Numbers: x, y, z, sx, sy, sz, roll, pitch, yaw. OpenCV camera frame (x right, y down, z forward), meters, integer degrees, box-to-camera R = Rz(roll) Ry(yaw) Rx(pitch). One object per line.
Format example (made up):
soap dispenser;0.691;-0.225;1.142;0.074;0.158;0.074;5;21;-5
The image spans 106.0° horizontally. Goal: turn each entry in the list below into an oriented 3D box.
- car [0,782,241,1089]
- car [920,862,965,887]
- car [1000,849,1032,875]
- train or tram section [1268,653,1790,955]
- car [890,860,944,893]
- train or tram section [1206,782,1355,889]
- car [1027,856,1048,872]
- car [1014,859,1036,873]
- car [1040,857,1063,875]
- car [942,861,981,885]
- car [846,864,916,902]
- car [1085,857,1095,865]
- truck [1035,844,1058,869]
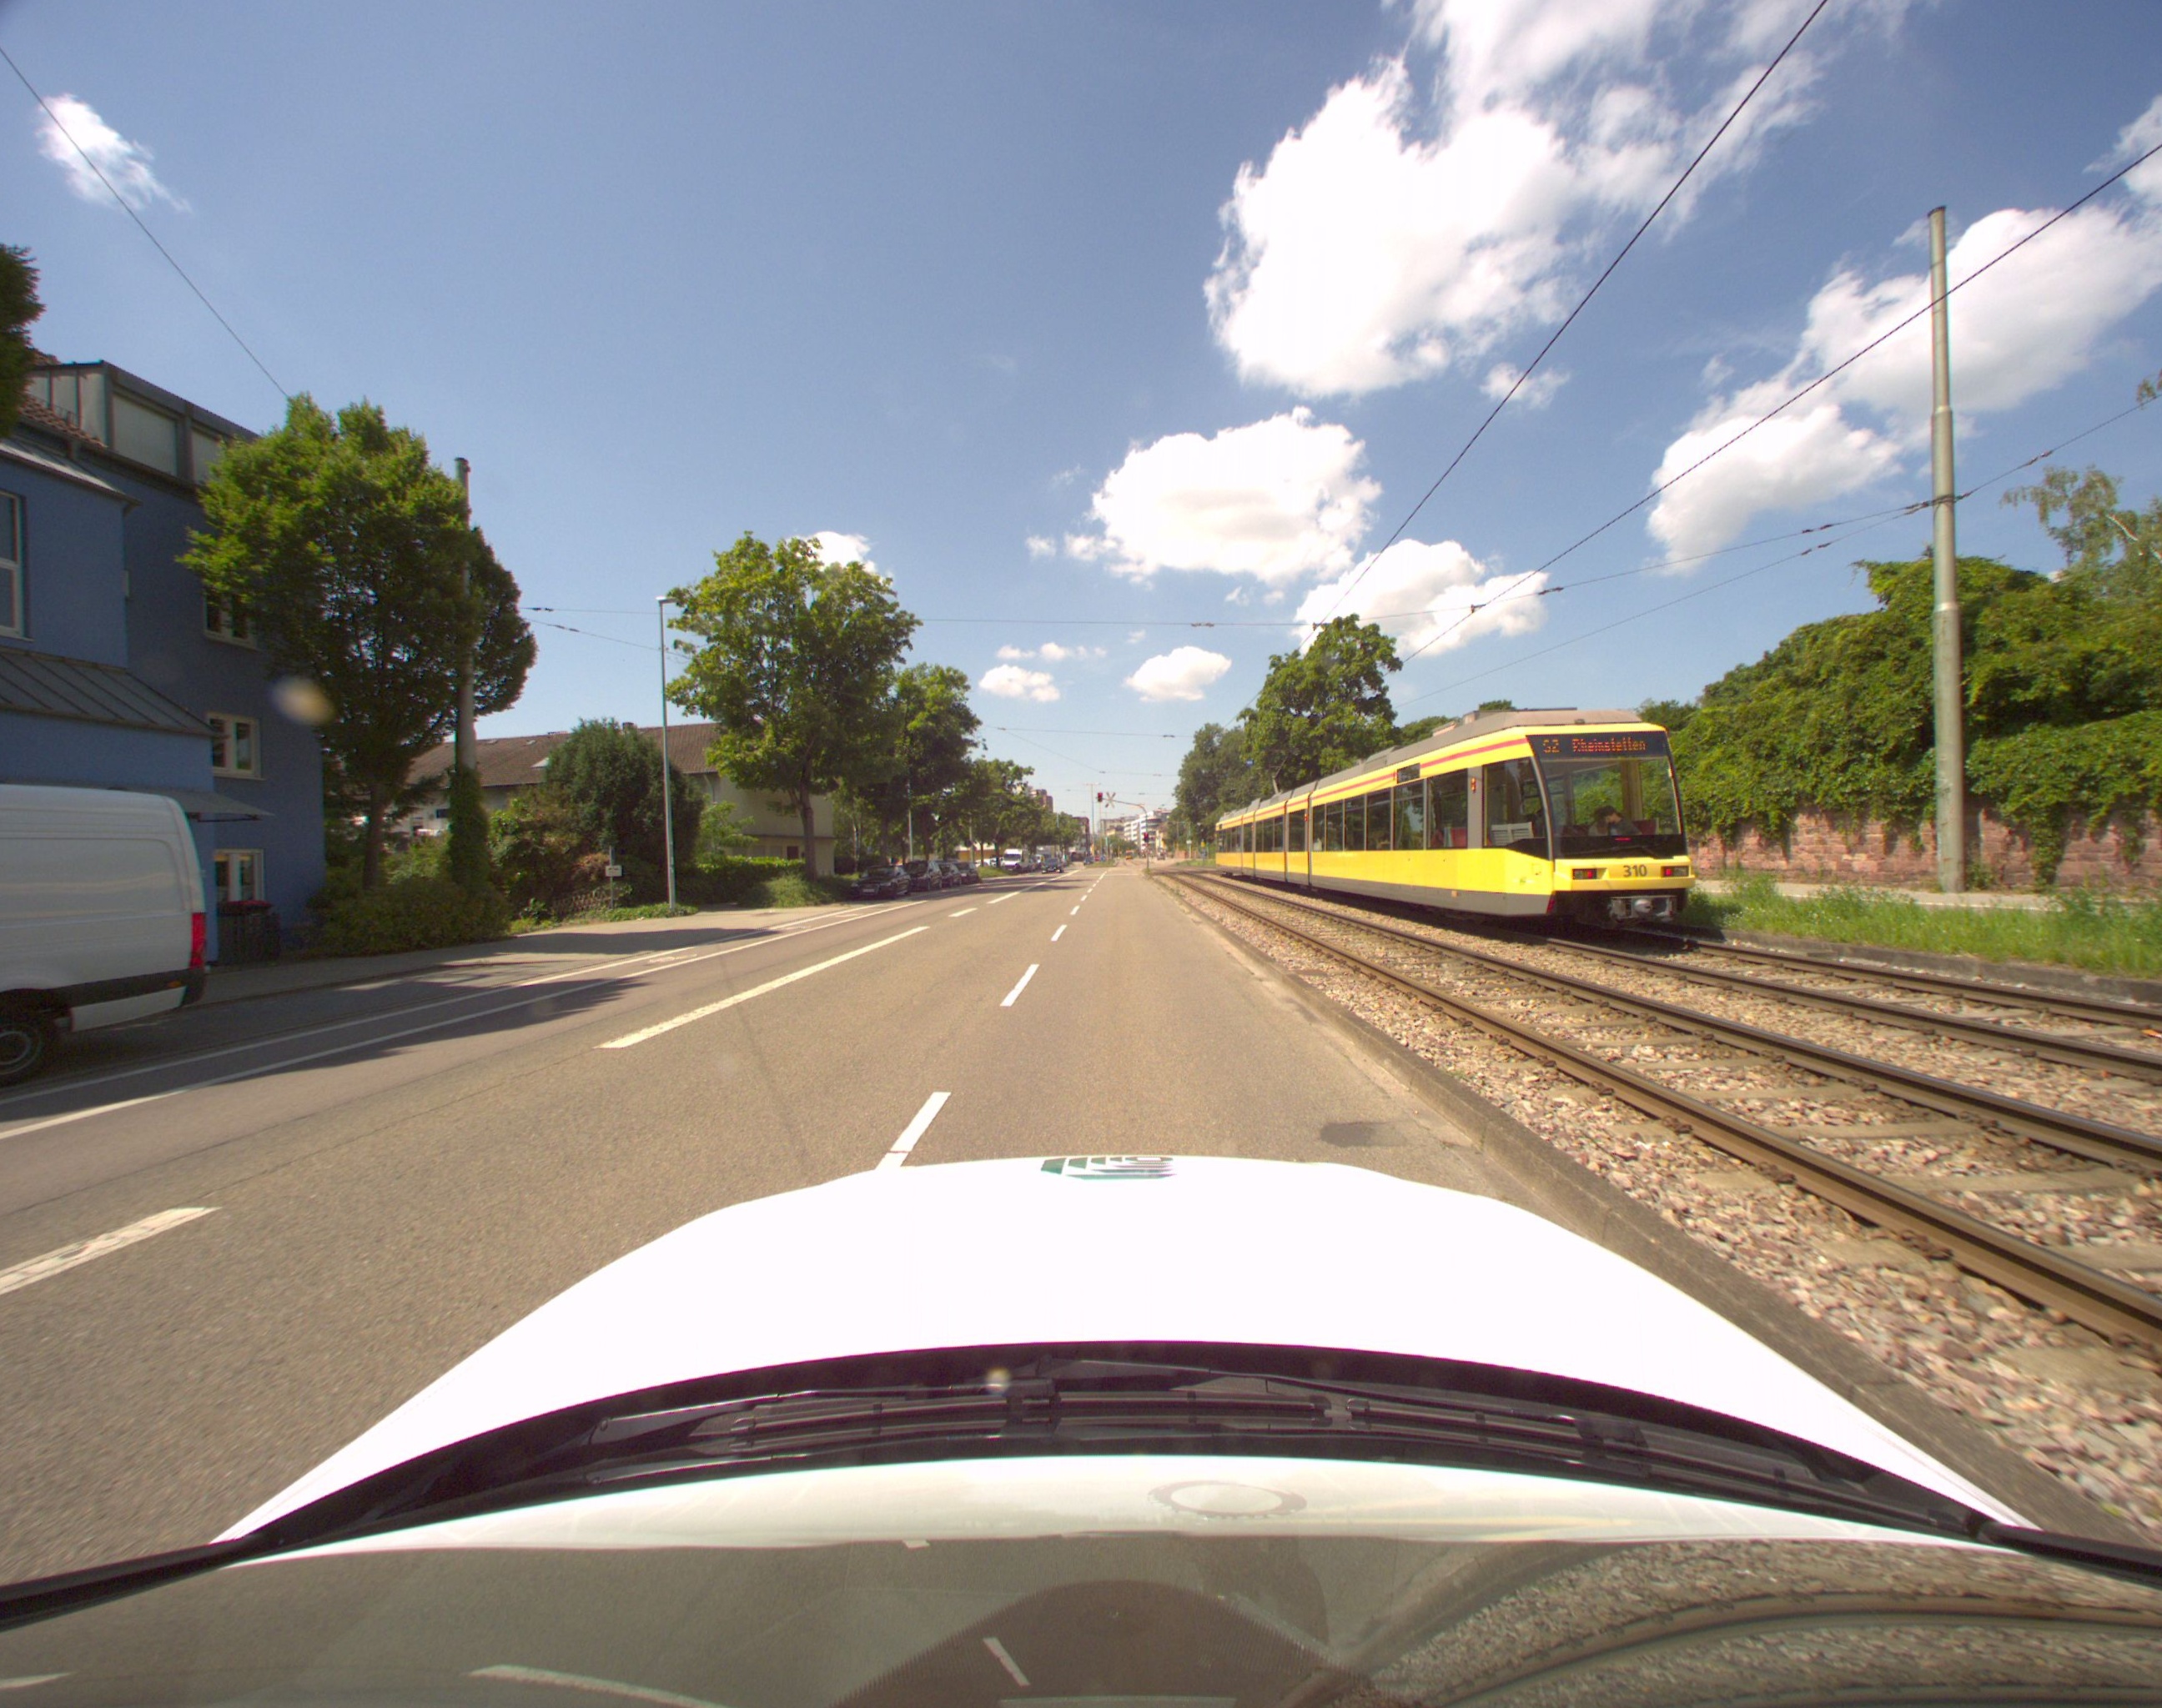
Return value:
car;-10.572;0.677;5.407;2.314;2.651;7.042;2;0;4
car;-8.268;1.198;49.009;1.768;1.373;4.698;0;0;1
car;-6.650;0.775;83.675;2.146;2.487;6.202;-1;0;5
train or tram section;7.663;-0.628;19.307;2.932;3.692;18.400;-1;0;2
car;-8.616;1.128;43.181;1.768;1.604;4.638;-1;0;1
train or tram section;8.526;-0.655;38.588;2.931;3.692;20.297;-1;0;3
car;-5.510;1.216;103.194;2.052;1.898;4.875;-2;0;4
car;-6.168;1.335;90.409;1.860;1.437;4.347;-2;0;4
car;-2.648;1.087;73.645;1.768;1.460;4.196;-3;0;1
car;-7.865;1.205;53.746;1.767;1.481;4.050;0;0;3
car;-8.751;1.214;36.096;1.768;1.455;4.805;-2;0;1
car;1.614;1.230;144.129;1.672;1.398;4.007;-4;0;1
truck;-4.664;0.309;111.751;2.146;3.210;7.092;1;0;5
